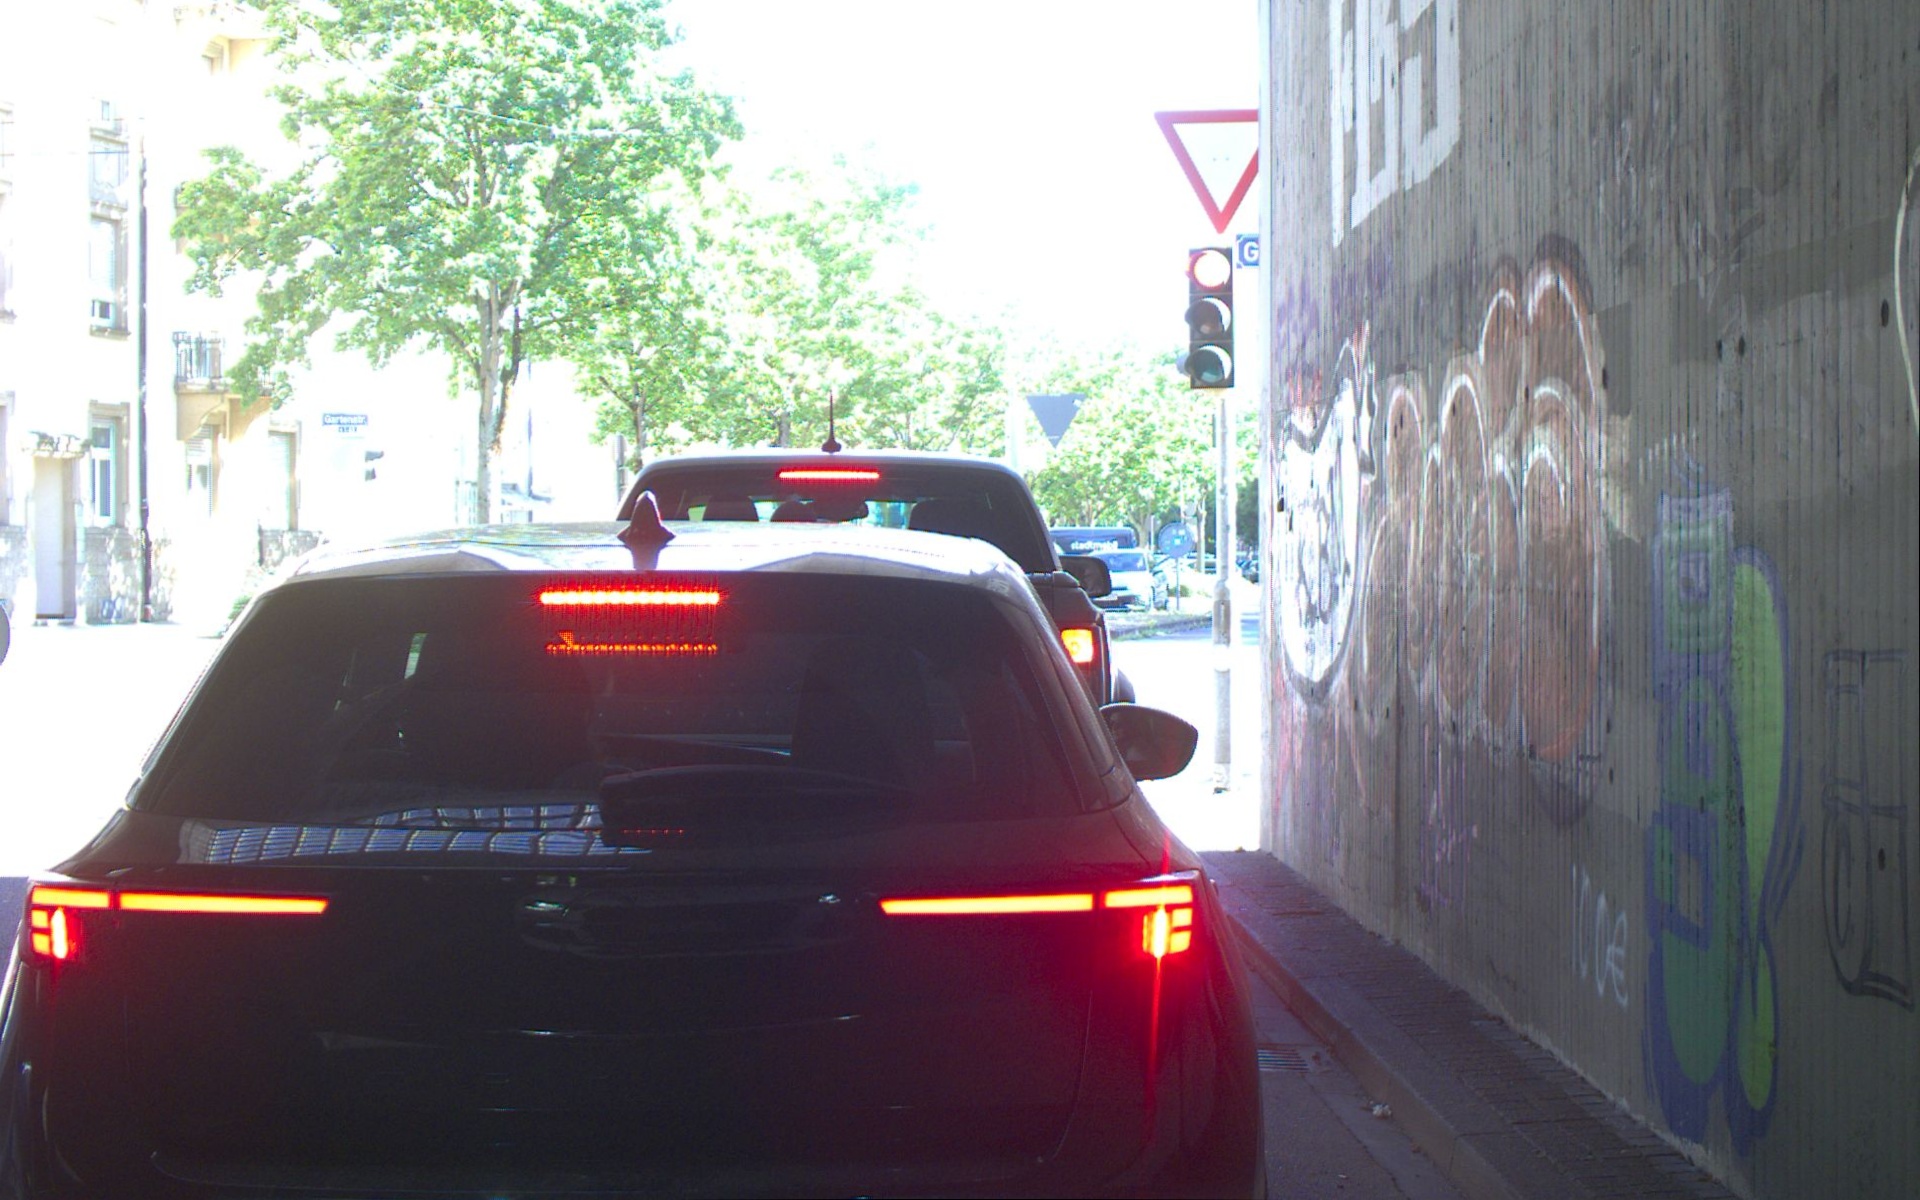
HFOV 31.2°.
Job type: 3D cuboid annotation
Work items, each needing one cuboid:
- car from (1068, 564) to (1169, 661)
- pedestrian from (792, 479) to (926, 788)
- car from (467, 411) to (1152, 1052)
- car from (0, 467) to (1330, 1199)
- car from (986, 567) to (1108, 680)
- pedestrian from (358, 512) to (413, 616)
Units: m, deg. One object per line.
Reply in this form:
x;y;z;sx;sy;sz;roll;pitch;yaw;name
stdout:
3.404;0.238;73.237;1.994;1.963;4.163;1;1;5;car
-0.573;0.183;19.776;0.731;1.728;0.874;1;0;-1;pedestrian
-0.462;0.347;12.084;1.993;1.865;4.000;0;1;-1;car
-0.476;0.563;6.098;1.764;1.566;4.001;1;2;-1;car
1.623;0.393;62.736;1.994;1.963;4.163;1;1;5;car
-11.682;-0.732;69.953;0.892;2.080;0.808;1;0;7;pedestrian
